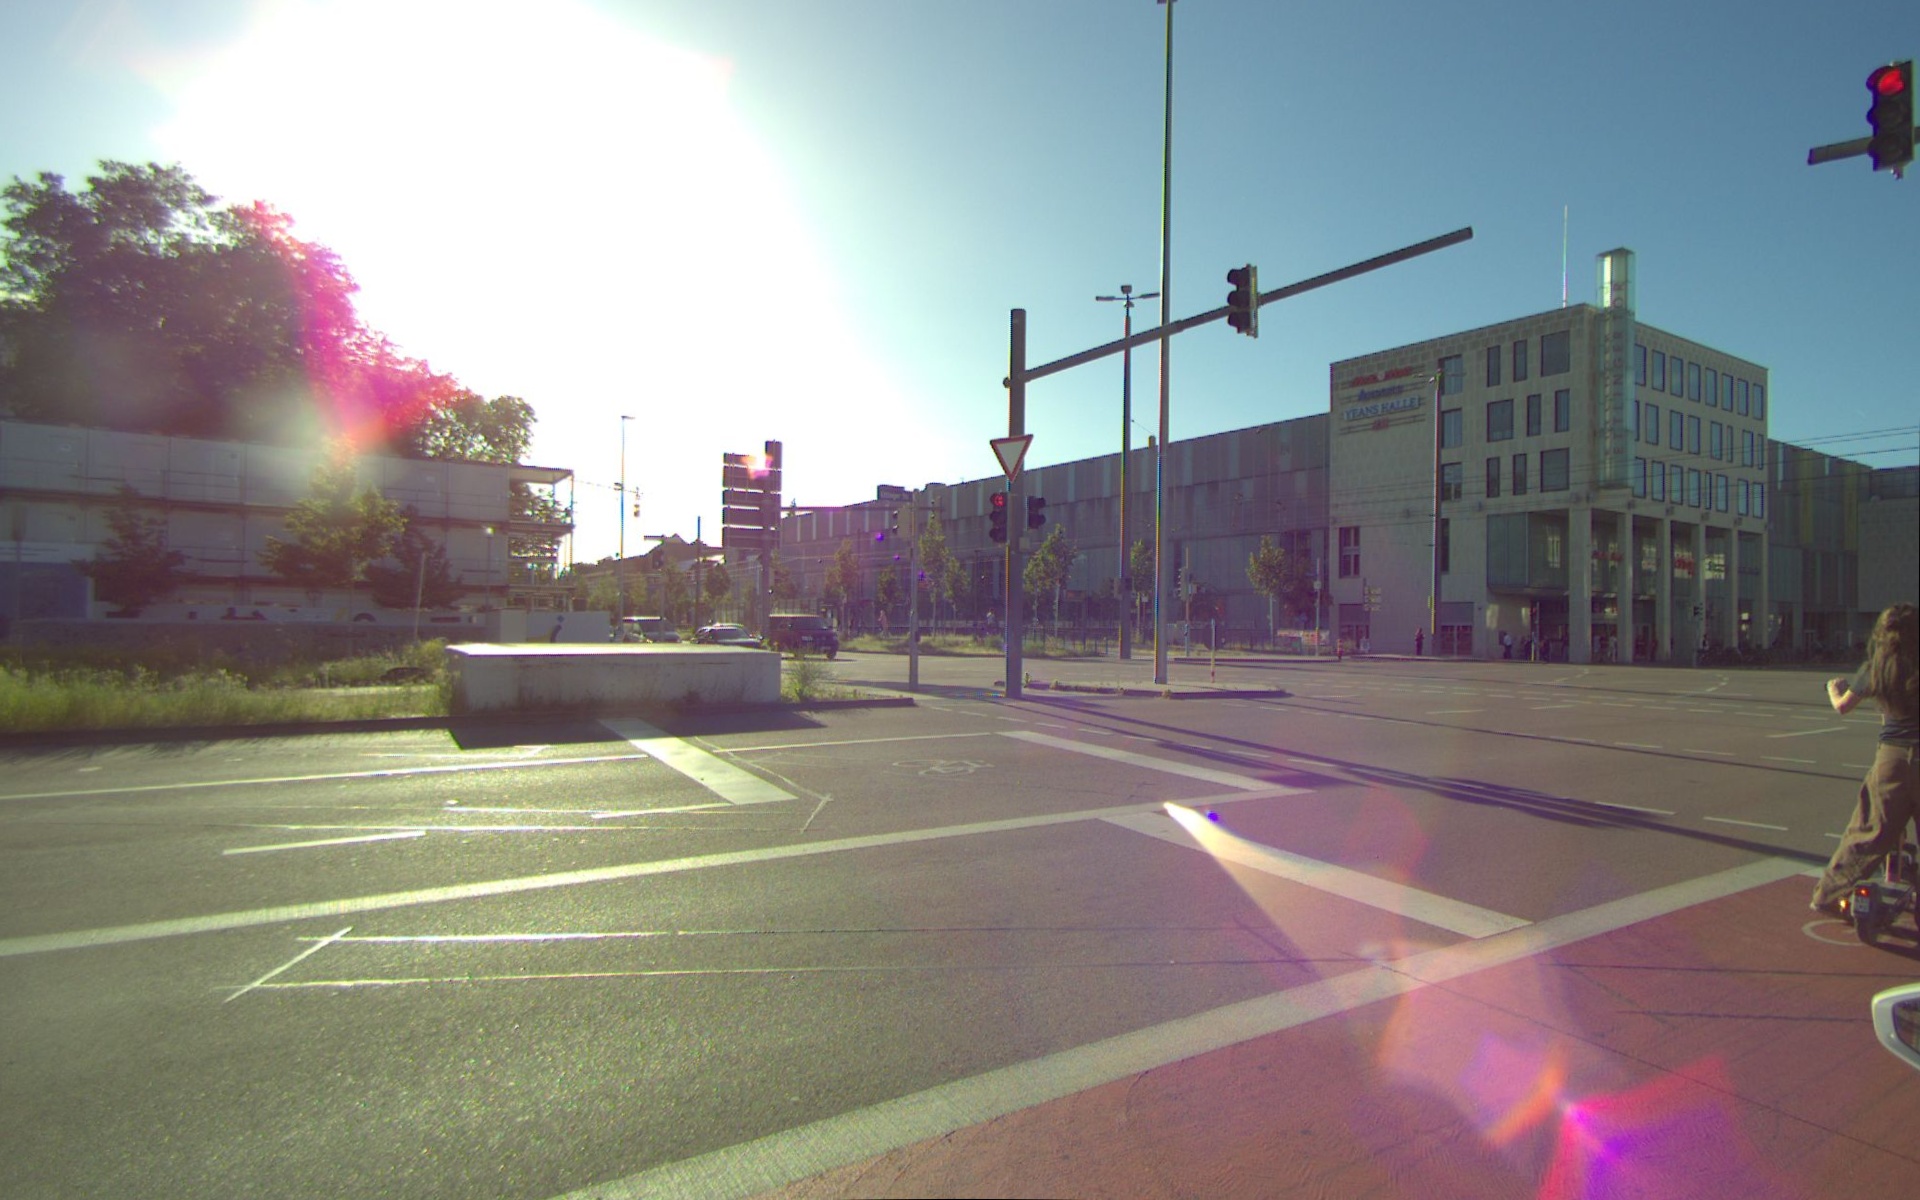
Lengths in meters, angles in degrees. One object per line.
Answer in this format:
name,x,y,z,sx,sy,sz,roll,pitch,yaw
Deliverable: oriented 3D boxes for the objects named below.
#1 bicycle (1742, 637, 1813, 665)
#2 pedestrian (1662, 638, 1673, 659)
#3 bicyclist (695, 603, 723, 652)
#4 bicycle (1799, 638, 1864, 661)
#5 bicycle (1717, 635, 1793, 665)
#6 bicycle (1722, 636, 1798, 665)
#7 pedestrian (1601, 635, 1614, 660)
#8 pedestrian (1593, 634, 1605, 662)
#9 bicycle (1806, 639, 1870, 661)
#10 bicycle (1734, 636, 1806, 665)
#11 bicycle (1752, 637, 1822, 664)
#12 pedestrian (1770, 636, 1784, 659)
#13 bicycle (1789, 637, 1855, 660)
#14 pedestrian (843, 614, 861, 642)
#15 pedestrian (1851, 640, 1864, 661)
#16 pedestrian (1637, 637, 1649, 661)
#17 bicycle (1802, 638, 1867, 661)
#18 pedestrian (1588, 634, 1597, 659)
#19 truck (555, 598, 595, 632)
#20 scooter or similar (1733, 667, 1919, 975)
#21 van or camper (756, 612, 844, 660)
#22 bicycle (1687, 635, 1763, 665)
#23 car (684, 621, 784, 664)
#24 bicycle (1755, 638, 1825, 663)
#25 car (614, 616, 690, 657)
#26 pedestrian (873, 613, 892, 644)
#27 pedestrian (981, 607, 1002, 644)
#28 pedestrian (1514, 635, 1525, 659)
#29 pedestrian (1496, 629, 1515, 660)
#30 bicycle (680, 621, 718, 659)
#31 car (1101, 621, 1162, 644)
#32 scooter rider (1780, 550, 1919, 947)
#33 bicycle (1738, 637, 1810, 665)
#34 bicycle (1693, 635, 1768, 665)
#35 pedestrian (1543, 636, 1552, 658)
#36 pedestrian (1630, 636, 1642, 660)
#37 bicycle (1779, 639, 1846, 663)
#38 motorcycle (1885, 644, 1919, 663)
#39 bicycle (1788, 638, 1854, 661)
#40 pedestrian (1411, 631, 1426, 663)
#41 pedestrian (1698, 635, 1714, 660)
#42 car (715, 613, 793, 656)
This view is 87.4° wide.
bicycle,52.854,3.257,64.963,0.979,1.719,3.462,1,-2,-40
pedestrian,49.892,3.415,70.839,0.630,1.454,0.474,0,-1,38
bicyclist,-13.945,1.500,55.722,1.007,2.677,1.610,1,-1,-34
bicycle,62.661,3.522,72.254,0.979,1.547,3.462,2,-2,-40
bicycle,48.210,3.011,60.939,1.107,1.719,3.465,1,-2,-38
bicycle,49.139,3.078,61.740,1.107,1.719,3.465,1,-2,-38
pedestrian,42.247,3.105,65.540,0.592,1.606,0.479,1,-1,-34
pedestrian,37.747,2.819,59.328,0.533,1.664,0.548,0,-1,37
bicycle,64.501,3.644,73.852,0.979,1.547,3.462,2,-2,-40
bicycle,51.115,3.188,63.425,0.979,1.719,3.462,1,-2,-40
bicycle,54.500,3.319,66.253,0.979,1.719,3.462,1,-2,-40
pedestrian,58.817,3.417,72.282,0.689,1.664,0.648,1,-1,-38
bicycle,61.183,3.449,71.303,0.979,1.547,3.462,2,-2,-40
pedestrian,-7.056,1.825,65.721,0.889,1.855,0.787,1,-1,-35
pedestrian,72.757,4.086,81.430,0.688,1.664,0.692,1,-1,-36
pedestrian,44.910,3.214,66.035,0.508,1.530,0.479,1,-1,-34
bicycle,63.701,3.588,73.203,0.979,1.547,3.462,2,-2,-40
pedestrian,41.899,3.072,66.518,0.363,1.606,0.384,1,-1,-34
truck,-33.483,1.324,87.252,1.979,2.875,6.293,1,-2,-33
scooter or similar,4.540,0.963,4.843,1.645,1.218,0.725,1,-1,-30
van or camper,-7.333,1.592,45.642,1.981,2.040,4.821,1,-2,-36
bicycle,45.694,2.975,60.033,1.107,1.719,3.465,1,-2,-38
car,-9.403,1.703,41.514,2.313,1.671,4.821,1,-2,-37
bicycle,55.251,3.327,66.921,0.979,1.547,3.462,2,-2,-40
car,-14.827,1.702,48.134,1.981,1.849,4.821,1,-2,-36
pedestrian,-4.622,1.692,59.914,0.889,1.855,0.787,1,-1,-35
pedestrian,1.580,1.287,50.595,0.788,1.855,0.706,1,-1,-37
pedestrian,36.764,3.067,65.989,0.452,1.586,0.420,1,-1,-30
pedestrian,32.973,2.685,60.689,0.729,1.822,0.752,1,-1,-34
bicycle,-14.863,2.247,57.038,1.007,2.040,3.472,1,-2,-33
car,12.854,2.416,75.611,1.981,1.628,4.435,1,-2,-36
scooter rider,4.623,0.680,4.902,0.801,1.798,0.725,1,-1,-30
bicycle,51.941,3.225,64.159,0.979,1.719,3.462,1,-2,-40
bicycle,46.600,3.003,60.820,1.107,1.719,3.465,1,-2,-38
pedestrian,38.035,3.030,65.053,0.499,1.445,0.382,2,-2,-45
pedestrian,44.216,3.129,65.693,0.508,1.606,0.479,1,-1,-34
bicycle,58.869,3.477,69.390,0.979,1.547,3.462,2,-2,-40
motorcycle,70.741,4.015,75.085,0.713,1.335,2.260,1,-2,-34
bicycle,60.377,3.432,70.471,0.979,1.547,3.462,2,-2,-40
pedestrian,24.391,2.487,53.416,0.543,1.716,0.521,1,-1,-40
pedestrian,49.156,3.125,66.216,0.773,1.664,0.693,0,-1,32
car,-10.395,1.694,50.419,1.981,2.040,4.821,1,-2,-36
